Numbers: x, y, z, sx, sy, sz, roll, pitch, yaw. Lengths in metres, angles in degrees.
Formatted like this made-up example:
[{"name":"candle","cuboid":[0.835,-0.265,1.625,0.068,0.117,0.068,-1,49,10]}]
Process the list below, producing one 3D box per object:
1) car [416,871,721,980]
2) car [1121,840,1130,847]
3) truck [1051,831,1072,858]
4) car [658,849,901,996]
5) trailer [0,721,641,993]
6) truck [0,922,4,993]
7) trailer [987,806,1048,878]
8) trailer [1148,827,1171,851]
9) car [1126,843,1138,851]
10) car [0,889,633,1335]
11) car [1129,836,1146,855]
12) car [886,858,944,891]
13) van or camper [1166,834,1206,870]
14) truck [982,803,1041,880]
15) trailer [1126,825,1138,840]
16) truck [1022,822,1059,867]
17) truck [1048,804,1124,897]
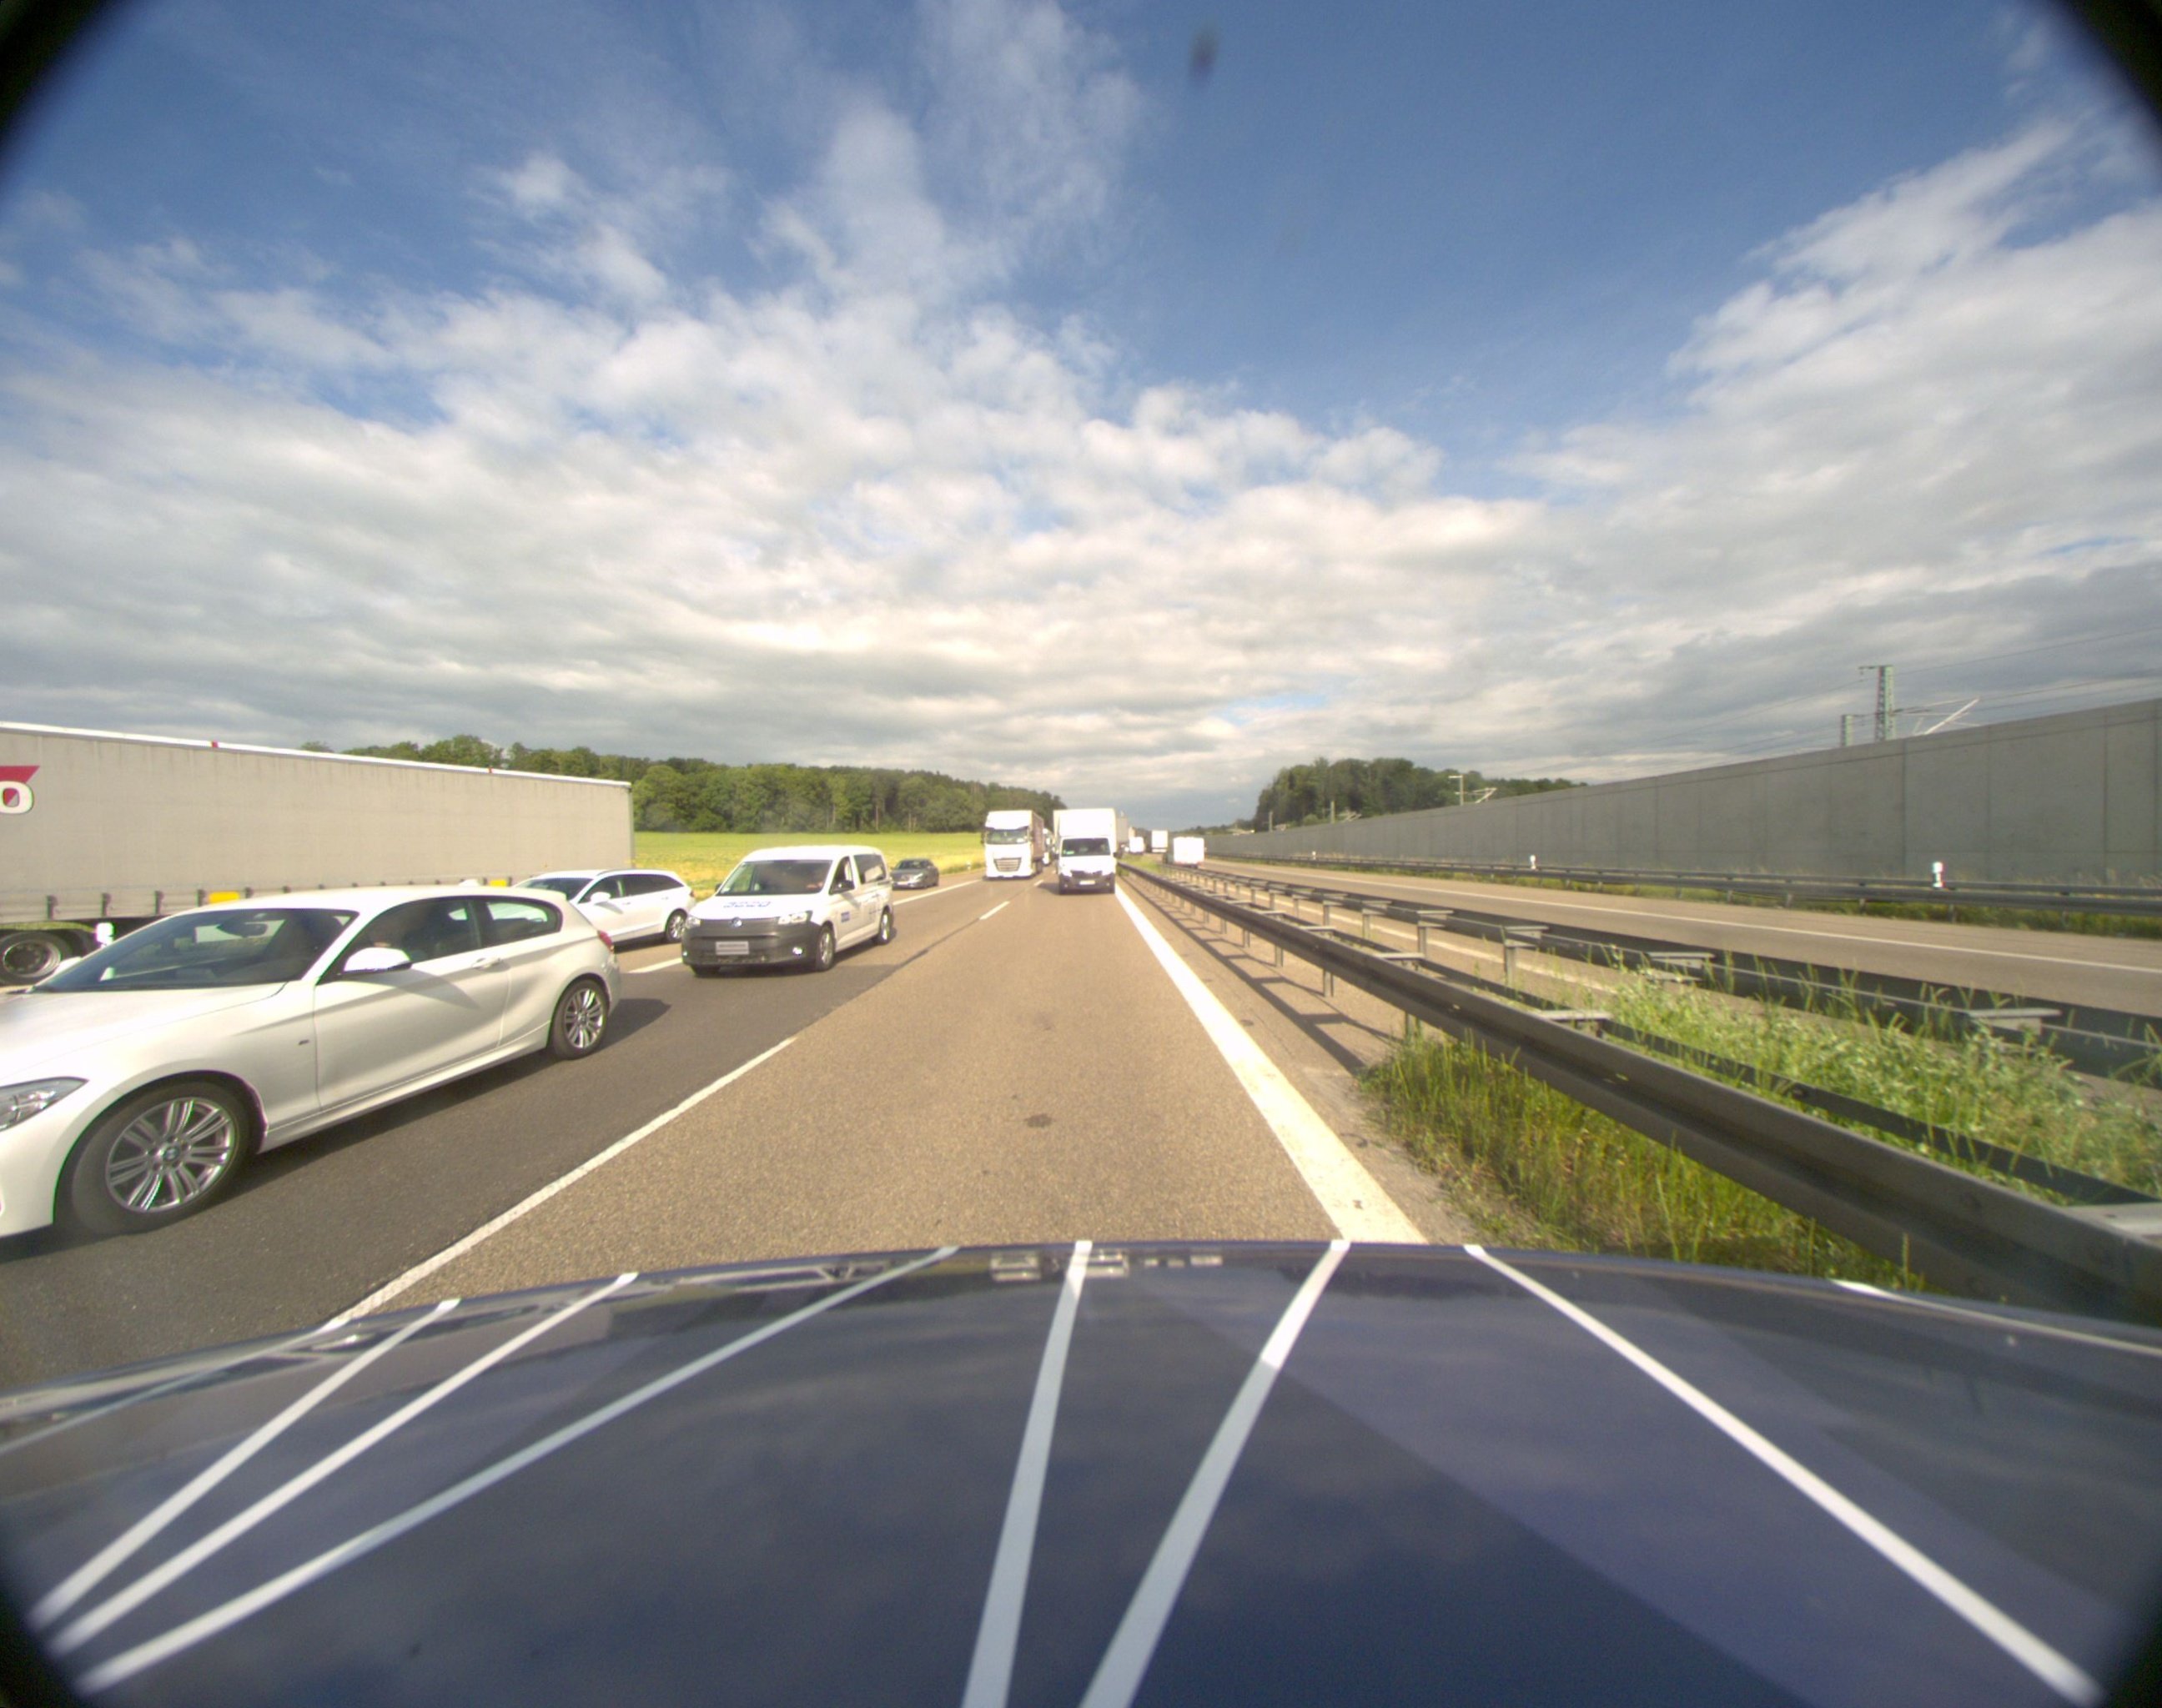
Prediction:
[{"name":"car","cuboid":[-8.710,1.116,13.573,1.870,1.424,4.632,-2,0,7]},{"name":"car","cuboid":[9.478,-2.132,162.109,1.656,1.443,3.955,-1,1,-1]},{"name":"truck","cuboid":[-3.146,-1.581,126.931,2.946,4.094,16.207,-1,0,0]},{"name":"car","cuboid":[-4.275,0.830,11.722,1.729,1.746,4.702,-3,1,1]},{"name":"trailer","cuboid":[-16.524,0.022,16.591,2.739,4.136,13.843,-2,0,15]},{"name":"truck","cuboid":[-18.457,0.114,9.627,2.717,4.149,4.765,-2,0,15]},{"name":"trailer","cuboid":[-3.984,-0.846,51.236,2.742,4.137,14.016,-2,1,0]},{"name":"trailer","cuboid":[13.926,-2.666,135.691,2.797,4.054,13.518,0,1,0]},{"name":"car","cuboid":[9.324,-1.313,138.572,1.878,1.443,4.232,-1,1,1]},{"name":"car","cuboid":[-4.806,1.060,4.506,1.708,1.424,4.232,-2,0,1]},{"name":"car","cuboid":[8.712,-1.258,117.476,2.109,2.854,5.636,-1,1,0]},{"name":"car","cuboid":[-7.796,0.924,36.094,1.707,1.345,4.183,-3,0,1]},{"name":"van or camper","cuboid":[8.334,-0.144,60.986,2.258,2.688,7.169,-1,0,0]},{"name":"truck","cuboid":[-4.016,-0.728,44.904,2.736,4.150,5.766,-2,1,0]},{"name":"trailer","cuboid":[15.346,-6.361,228.231,2.690,4.014,13.790,-1,0,0]},{"name":"truck","cuboid":[-3.951,-0.925,76.813,2.946,4.094,12.523,-1,1,0]},{"name":"truck","cuboid":[0.219,-0.163,32.123,2.500,3.082,12.037,-2,0,0]}]
